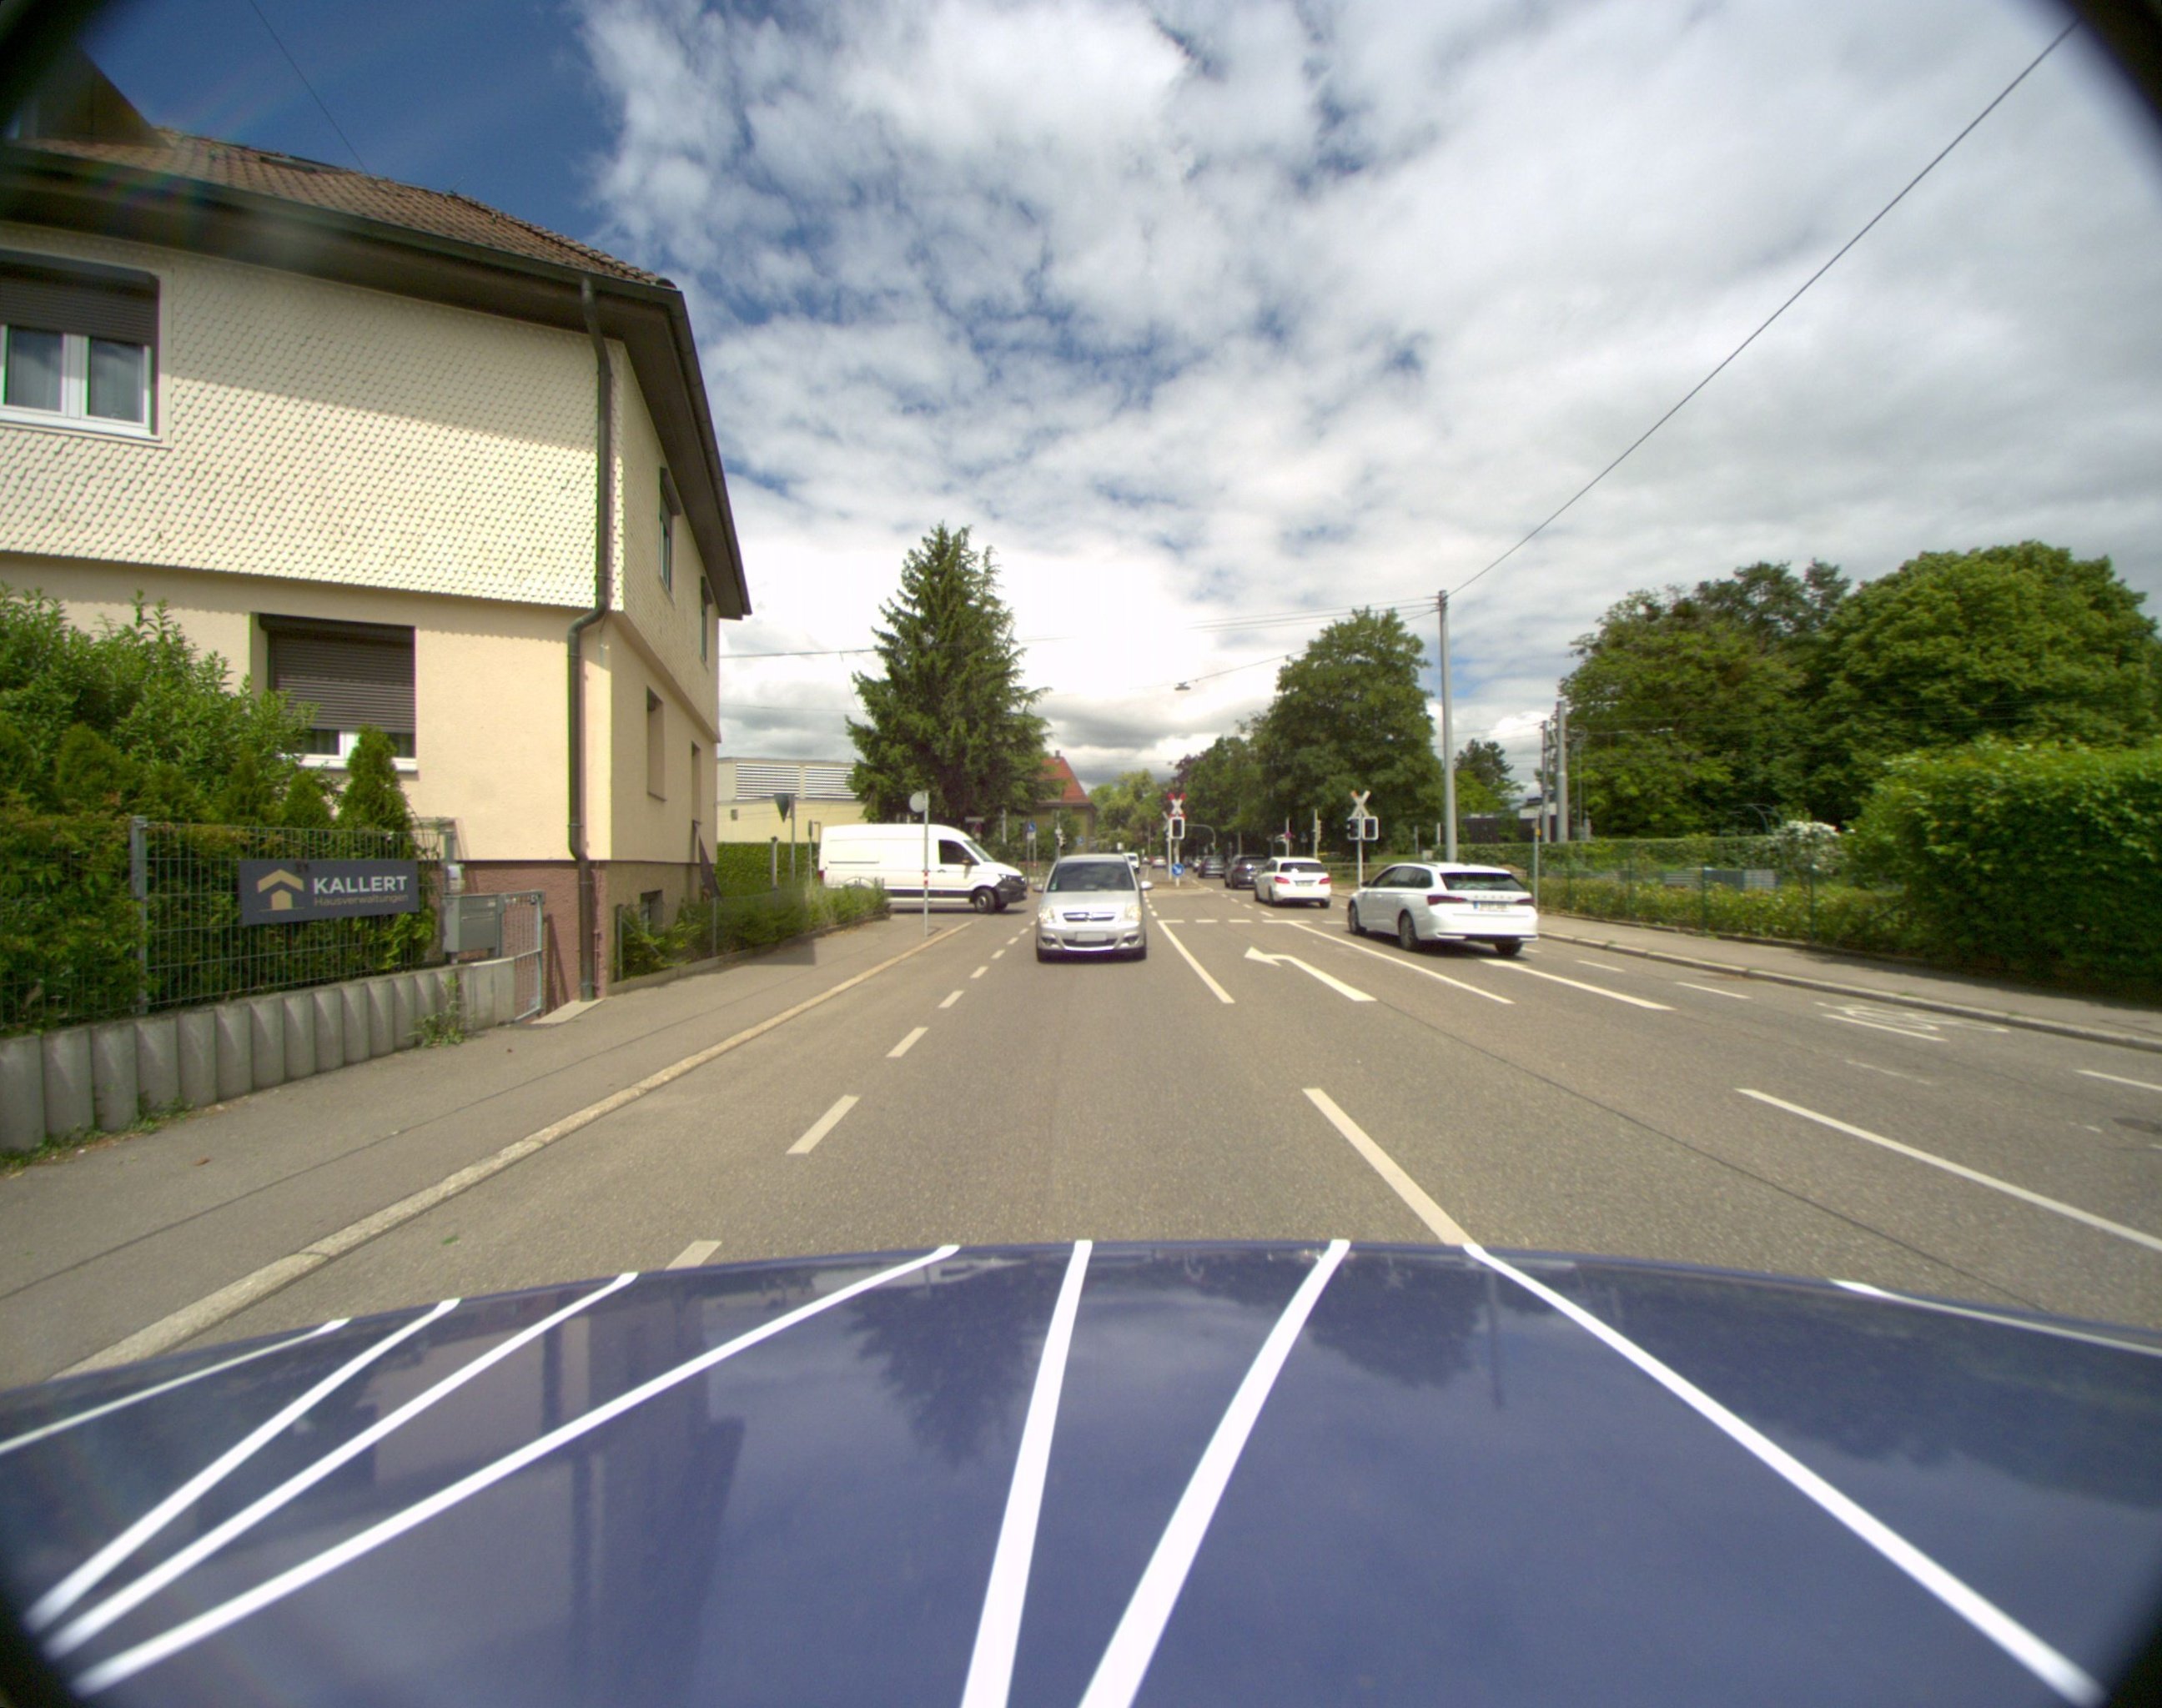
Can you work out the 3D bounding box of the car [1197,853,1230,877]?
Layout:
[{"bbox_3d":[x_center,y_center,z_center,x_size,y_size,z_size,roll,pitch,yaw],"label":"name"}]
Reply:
[{"bbox_3d":[9.285,0.738,53.534,1.785,1.576,4.000,0,0,2],"label":"car"}]

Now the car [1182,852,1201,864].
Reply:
[{"bbox_3d":[13.470,0.482,92.827,1.932,1.412,4.001,-2,0,4],"label":"car"}]

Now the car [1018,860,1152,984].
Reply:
[{"bbox_3d":[0.139,0.909,12.118,1.708,1.531,4.331,-2,0,2],"label":"car"}]

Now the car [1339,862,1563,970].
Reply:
[{"bbox_3d":[6.125,0.924,13.252,1.880,1.467,4.442,0,0,2],"label":"car"}]

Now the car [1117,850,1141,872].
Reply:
[{"bbox_3d":[4.217,0.589,67.005,1.933,1.771,4.001,-2,0,3],"label":"car"}]

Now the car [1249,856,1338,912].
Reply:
[{"bbox_3d":[6.706,0.889,24.426,1.851,1.565,4.159,-1,0,2],"label":"car"}]

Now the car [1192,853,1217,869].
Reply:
[{"bbox_3d":[11.550,0.649,70.987,1.932,1.412,4.001,-2,0,4],"label":"car"}]

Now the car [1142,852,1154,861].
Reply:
[{"bbox_3d":[11.381,0.411,128.689,1.932,1.412,4.001,-2,0,4],"label":"car"}]

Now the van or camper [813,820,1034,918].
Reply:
[{"bbox_3d":[-4.512,0.445,22.244,5.915,2.565,2.032,-2,-1,6],"label":"van or camper"}]

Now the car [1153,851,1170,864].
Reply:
[{"bbox_3d":[9.766,0.407,92.373,1.932,1.412,4.001,-2,0,4],"label":"car"}]

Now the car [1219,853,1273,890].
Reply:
[{"bbox_3d":[7.752,0.791,36.029,1.801,1.583,4.000,-2,0,2],"label":"car"}]
